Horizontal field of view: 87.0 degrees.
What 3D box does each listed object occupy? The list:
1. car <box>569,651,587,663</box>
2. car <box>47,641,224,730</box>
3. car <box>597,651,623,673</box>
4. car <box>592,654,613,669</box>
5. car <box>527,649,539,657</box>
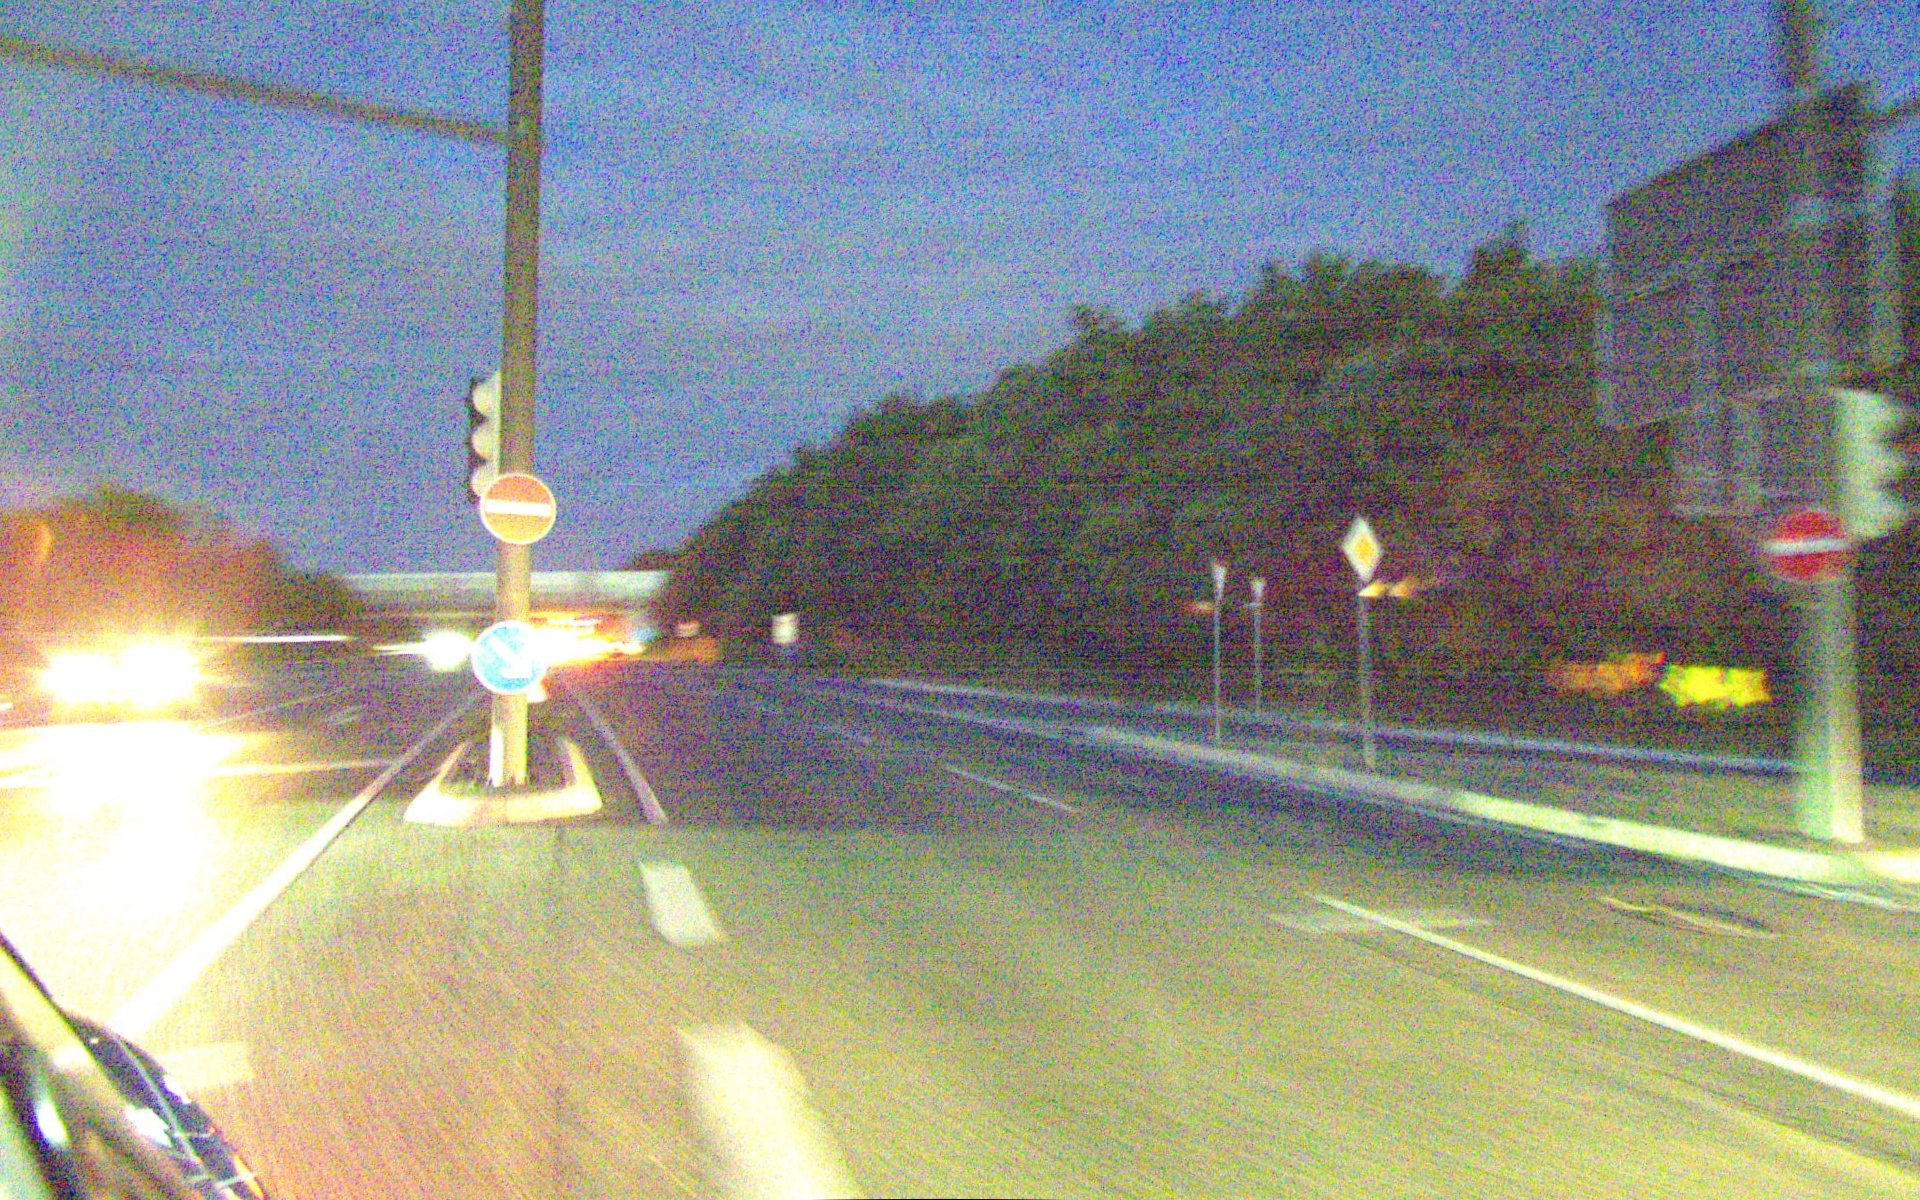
[{"bbox_3d":[-53.921,8.078,142.769,2.091,1.643,4.713,2,-3,-23],"label":"car"},{"bbox_3d":[-15.170,1.512,18.822,1.629,1.462,3.501,0,-3,-23],"label":"car"},{"bbox_3d":[-26.377,4.629,76.132,1.523,1.531,3.527,4,-4,-23],"label":"car"},{"bbox_3d":[-38.863,6.694,109.939,1.926,1.498,4.713,3,-4,-20],"label":"car"},{"bbox_3d":[-81.710,10.067,193.561,1.899,1.531,4.013,2,-3,-24],"label":"car"}]
